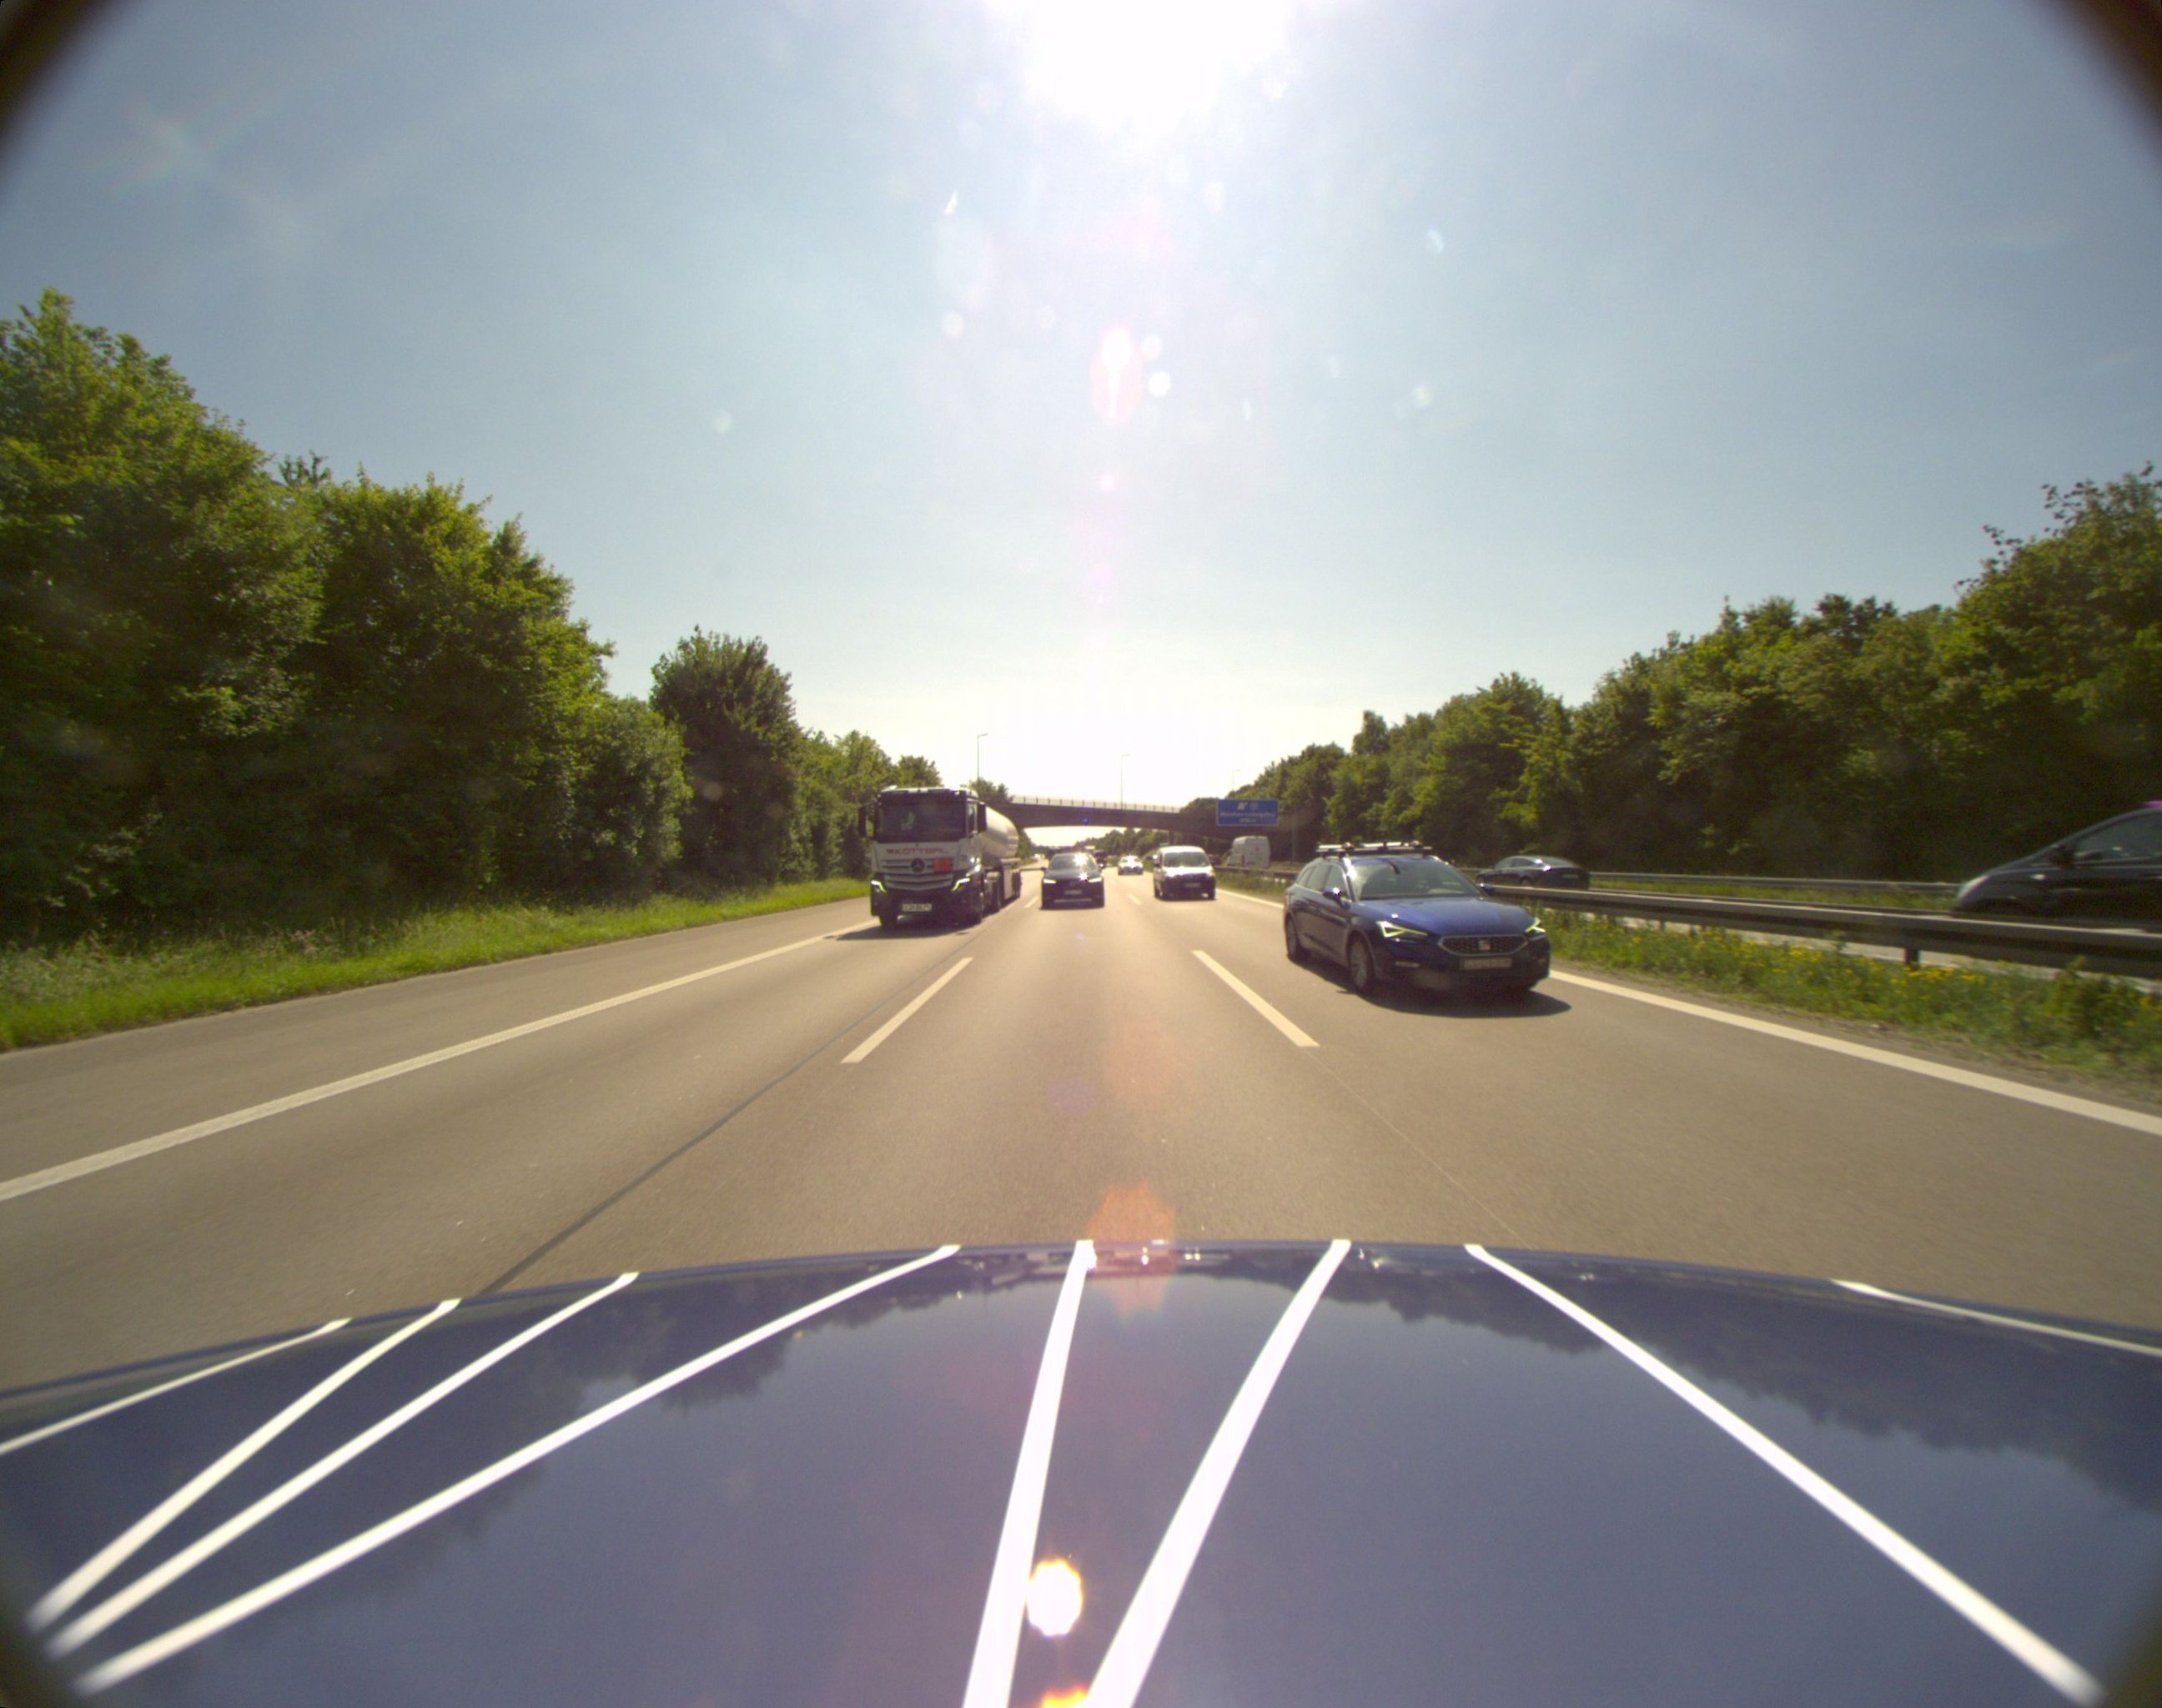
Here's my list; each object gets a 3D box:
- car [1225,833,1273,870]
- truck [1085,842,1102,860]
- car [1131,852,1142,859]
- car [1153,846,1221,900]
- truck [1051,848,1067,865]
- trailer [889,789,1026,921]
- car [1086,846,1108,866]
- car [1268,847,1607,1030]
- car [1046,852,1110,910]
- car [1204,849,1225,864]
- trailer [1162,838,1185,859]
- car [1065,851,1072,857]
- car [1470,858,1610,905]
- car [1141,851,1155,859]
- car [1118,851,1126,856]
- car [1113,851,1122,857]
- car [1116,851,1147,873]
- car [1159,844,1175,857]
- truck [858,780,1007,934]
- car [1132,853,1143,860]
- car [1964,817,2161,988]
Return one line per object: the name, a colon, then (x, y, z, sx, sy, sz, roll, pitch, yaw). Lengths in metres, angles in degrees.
car: (11.995, -0.189, 54.619, 2.075, 2.541, 6.400, 0, 0, 0)
truck: (2.498, -0.620, 157.481, 3.243, 3.684, 10.933, 0, 0, -1)
car: (10.865, 0.286, 149.846, 1.909, 1.526, 4.000, 0, 0, 0)
car: (3.589, 0.588, 26.411, 1.870, 1.713, 3.980, -1, 1, 1)
truck: (-4.420, 0.473, 150.295, 2.966, 3.388, 8.045, 0, 0, -3)
trailer: (-3.636, 0.009, 25.478, 2.655, 3.370, 11.150, -2, 0, 0)
car: (2.497, 0.356, 123.367, 3.243, 3.094, 7.603, 0, 0, -1)
car: (3.760, 0.765, 8.997, 1.905, 1.616, 4.239, -1, 0, -2)
car: (-0.155, 0.787, 24.288, 1.812, 1.648, 3.999, -2, 0, -2)
car: (16.031, 0.274, 91.133, 1.867, 1.620, 4.320, -1, 1, 2)
trailer: (19.225, -1.101, 158.696, 2.792, 4.017, 13.546, 1, 0, 0)
car: (-3.497, -0.020, 213.603, 1.999, 1.798, 4.368, 0, 0, -2)
car: (15.621, 0.888, 26.250, 1.911, 1.407, 4.890, 0, 0, 0)
car: (11.065, 0.112, 125.588, 1.729, 1.367, 4.544, 0, 0, -1)
car: (10.769, -0.175, 200.532, 1.687, 1.473, 4.347, 0, 0, -1)
car: (9.785, 0.012, 204.273, 1.999, 1.798, 4.369, 0, 0, 0)
car: (3.928, 0.586, 59.476, 1.999, 1.540, 3.998, -1, 1, -2)
car: (15.025, -0.674, 132.531, 1.999, 2.222, 6.516, -1, 1, 0)
truck: (-3.625, 0.060, 20.203, 2.645, 3.355, 6.486, -2, 0, -1)
car: (11.039, 0.529, 149.821, 1.729, 1.367, 4.544, 0, 0, -1)
car: (12.153, 0.502, 7.110, 1.911, 1.778, 5.059, 0, 0, 0)
